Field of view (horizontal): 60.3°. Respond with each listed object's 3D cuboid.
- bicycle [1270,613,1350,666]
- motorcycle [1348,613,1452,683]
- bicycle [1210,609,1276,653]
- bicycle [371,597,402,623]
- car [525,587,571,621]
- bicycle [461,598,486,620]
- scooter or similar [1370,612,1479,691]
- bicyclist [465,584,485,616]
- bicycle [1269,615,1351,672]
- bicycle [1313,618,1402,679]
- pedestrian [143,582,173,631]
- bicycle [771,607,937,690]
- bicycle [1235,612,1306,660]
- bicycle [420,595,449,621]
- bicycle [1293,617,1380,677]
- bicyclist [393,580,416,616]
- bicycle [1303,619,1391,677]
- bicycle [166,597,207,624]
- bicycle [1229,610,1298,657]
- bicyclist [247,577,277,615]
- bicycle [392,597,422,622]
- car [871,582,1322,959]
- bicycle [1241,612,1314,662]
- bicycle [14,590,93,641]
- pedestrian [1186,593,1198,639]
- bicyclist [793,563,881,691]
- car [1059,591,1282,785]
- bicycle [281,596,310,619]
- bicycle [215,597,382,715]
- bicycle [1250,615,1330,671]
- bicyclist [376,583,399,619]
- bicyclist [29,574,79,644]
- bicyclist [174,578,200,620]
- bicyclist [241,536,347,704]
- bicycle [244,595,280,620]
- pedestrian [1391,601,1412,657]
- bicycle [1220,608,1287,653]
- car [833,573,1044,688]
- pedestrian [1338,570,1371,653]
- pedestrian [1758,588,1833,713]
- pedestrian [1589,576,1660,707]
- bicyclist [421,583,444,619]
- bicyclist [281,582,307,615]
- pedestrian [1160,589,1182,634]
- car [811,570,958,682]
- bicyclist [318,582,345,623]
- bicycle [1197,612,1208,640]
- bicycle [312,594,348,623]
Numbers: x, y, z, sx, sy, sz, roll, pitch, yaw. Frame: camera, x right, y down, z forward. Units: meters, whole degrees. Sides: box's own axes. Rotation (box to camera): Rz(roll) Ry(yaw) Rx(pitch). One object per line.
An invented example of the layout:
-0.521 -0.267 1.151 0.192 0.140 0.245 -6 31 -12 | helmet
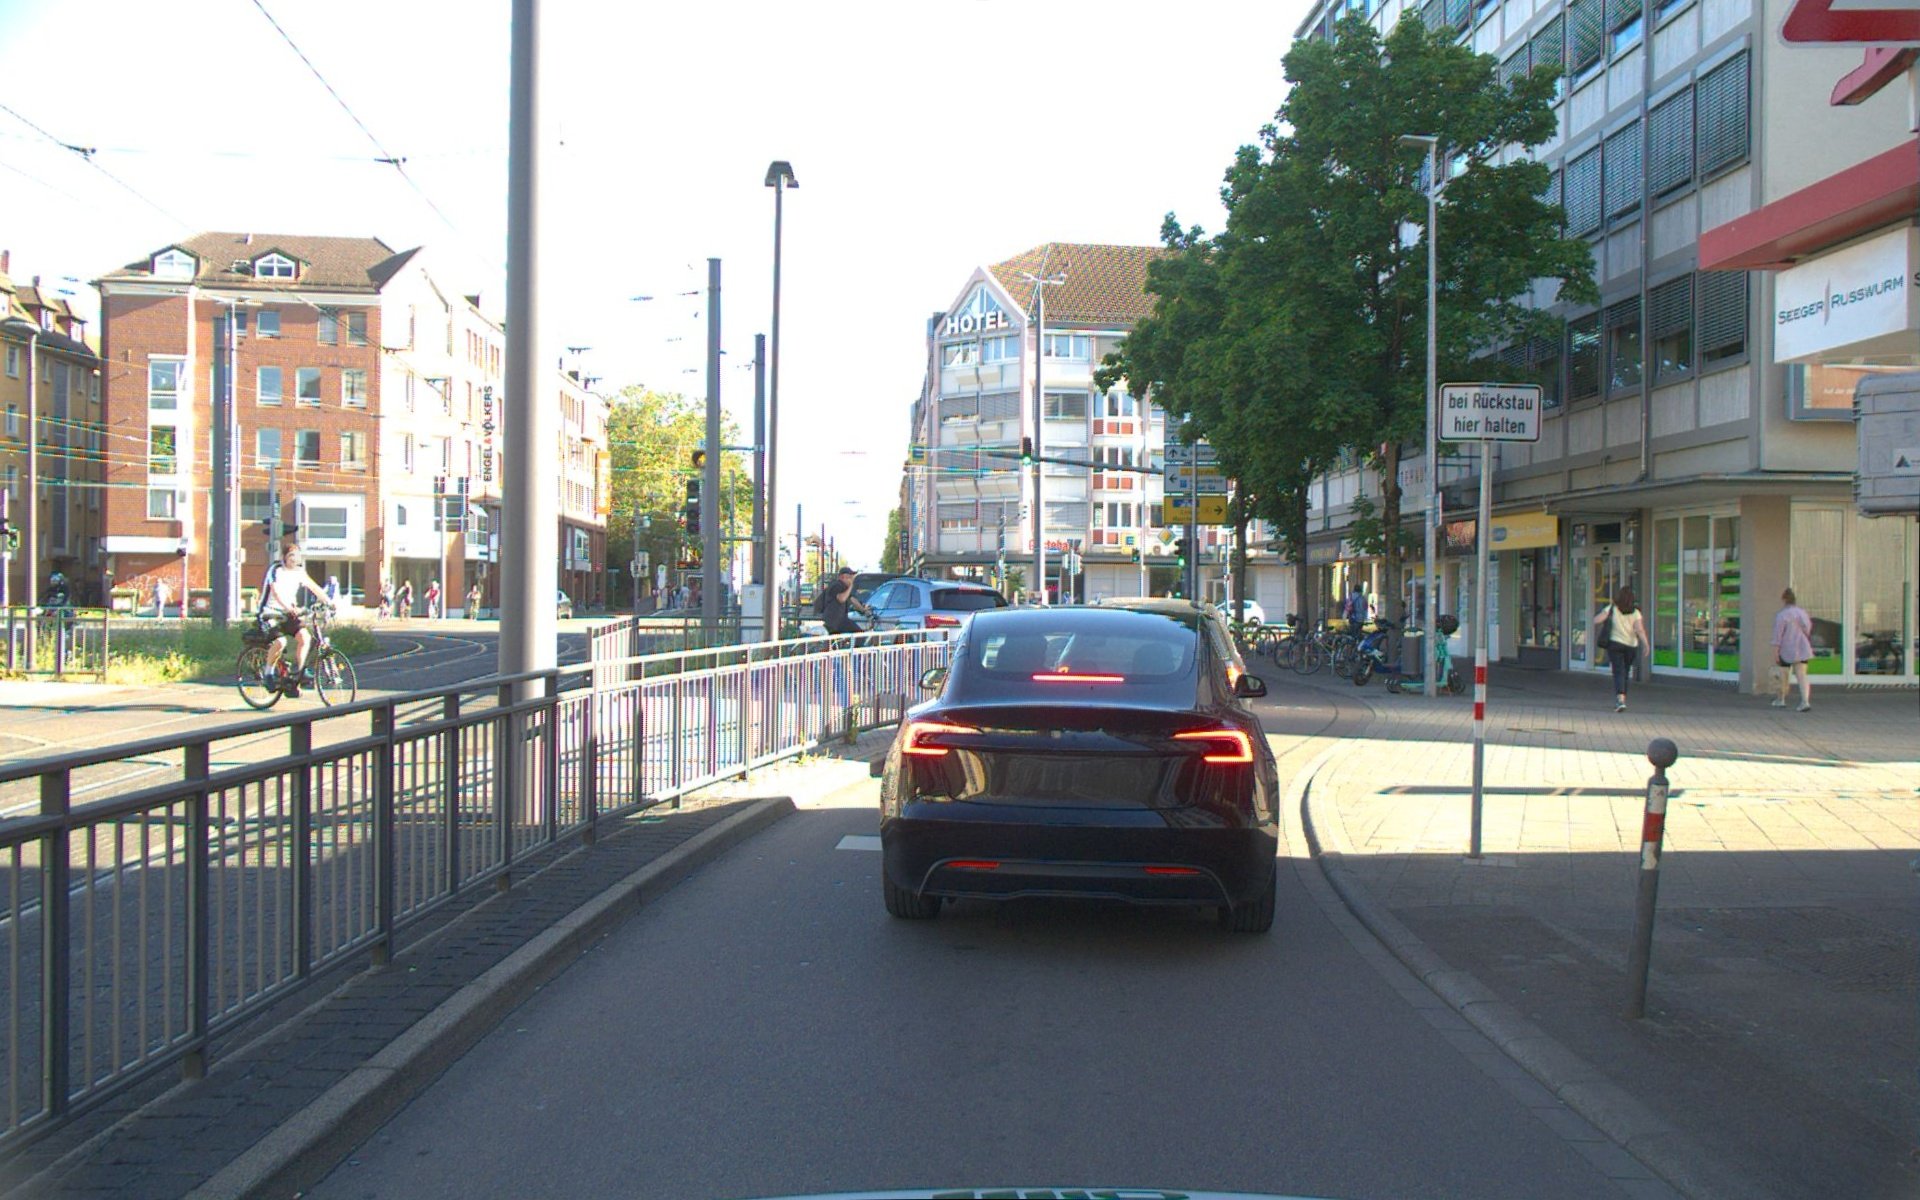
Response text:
7.495 0.843 35.450 1.616 1.118 0.350 1 -1 1 | bicycle
7.804 0.846 29.370 1.673 1.194 0.541 1 -1 -3 | motorcycle
7.288 0.797 42.579 1.616 1.118 0.350 1 -1 1 | bicycle
-25.174 0.430 72.601 0.518 1.107 2.284 1 0 1 | bicycle
-21.841 0.207 87.708 1.663 1.762 3.704 1 0 -3 | car
-24.168 0.441 82.265 0.518 1.107 2.225 1 0 1 | bicycle
7.658 0.836 27.293 1.610 1.236 0.644 1 -1 30 | scooter or similar
-24.135 0.006 82.304 0.767 1.590 0.746 1 -1 1 | bicyclist
7.091 0.883 33.495 1.620 1.118 0.349 1 -1 -11 | bicycle
7.475 0.914 31.128 1.620 1.118 0.349 1 -1 -11 | bicycle
-31.189 0.253 64.340 0.767 1.852 0.746 1 -1 1 | pedestrian
-1.415 0.649 22.408 2.313 1.072 0.622 1 -1 -39 | bicycle
7.395 0.863 39.427 1.616 1.118 0.350 1 -1 1 | bicycle
-23.477 0.353 73.955 0.518 1.107 2.225 0 0 1 | bicycle
7.274 0.906 31.970 1.620 1.118 0.349 1 -1 -11 | bicycle
-25.221 -0.096 75.122 0.767 1.590 0.746 0 0 1 | bicyclist
7.378 0.917 31.548 1.620 1.079 0.349 1 -1 -11 | bicycle
-28.266 0.383 60.469 0.437 0.988 2.246 1 0 -1 | bicycle
7.423 0.816 40.441 1.616 1.118 0.350 1 -1 1 | bicycle
-28.479 -0.174 67.475 0.880 1.529 0.696 1 -1 -1 | bicyclist
-25.162 0.443 75.267 0.518 1.107 2.284 1 0 1 | bicycle
0.687 0.692 8.672 1.791 1.481 4.002 1 0 4 | car
7.379 0.862 38.400 1.616 1.118 0.350 1 -1 1 | bicycle
-20.535 0.339 37.522 0.449 1.112 2.202 1 0 3 | bicycle
8.836 0.599 62.938 0.393 1.740 0.528 1 -1 6 | pedestrian
-1.646 0.356 22.085 0.753 1.657 0.964 1 -1 -39 | bicyclist
1.838 0.677 14.953 1.714 1.480 4.003 1 0 6 | car
-29.641 0.330 73.779 0.396 0.998 1.695 1 0 7 | bicycle
-7.278 0.600 18.189 1.810 1.244 0.485 1 -1 19 | bicycle
6.853 0.893 34.366 1.620 1.118 0.349 1 -1 -11 | bicycle
-25.175 0.037 72.750 0.767 1.590 0.746 0 0 1 | bicyclist
-20.510 0.209 37.459 0.769 1.554 0.589 1 -1 0 | bicyclist
-28.256 -0.035 60.451 0.620 1.529 0.696 1 -1 -1 | bicyclist
-7.305 0.211 18.167 0.735 1.790 0.759 1 -1 19 | bicyclist
-28.510 0.320 67.576 0.513 0.988 2.246 1 0 -1 | bicycle
10.891 0.705 40.794 0.381 1.367 0.513 1 -1 1 | pedestrian
7.358 0.773 41.487 1.616 1.118 0.350 0 0 1 | bicycle
-0.432 0.455 26.493 1.859 1.691 4.125 1 0 -25 | car
9.805 0.289 41.128 0.648 2.049 0.579 1 -1 1 | pedestrian
11.724 0.693 23.230 0.871 1.696 0.808 1 -1 23 | pedestrian
9.302 0.557 23.152 0.895 1.783 1.038 0 0 22 | pedestrian
-23.574 0.038 73.928 0.767 1.590 0.746 0 0 1 | bicyclist
-29.648 -0.070 73.680 0.689 1.496 0.973 0 0 7 | bicyclist
8.017 0.449 62.861 0.685 1.691 0.777 1 -1 -1 | pedestrian
-1.563 0.483 32.629 1.962 2.049 3.981 0 0 -17 | car
-25.051 0.097 65.951 0.767 1.590 0.746 1 -1 1 | bicyclist
9.161 0.977 62.497 0.325 1.052 1.257 1 0 6 | bicycle
-25.028 0.335 65.753 0.526 1.107 2.225 1 0 1 | bicycle
